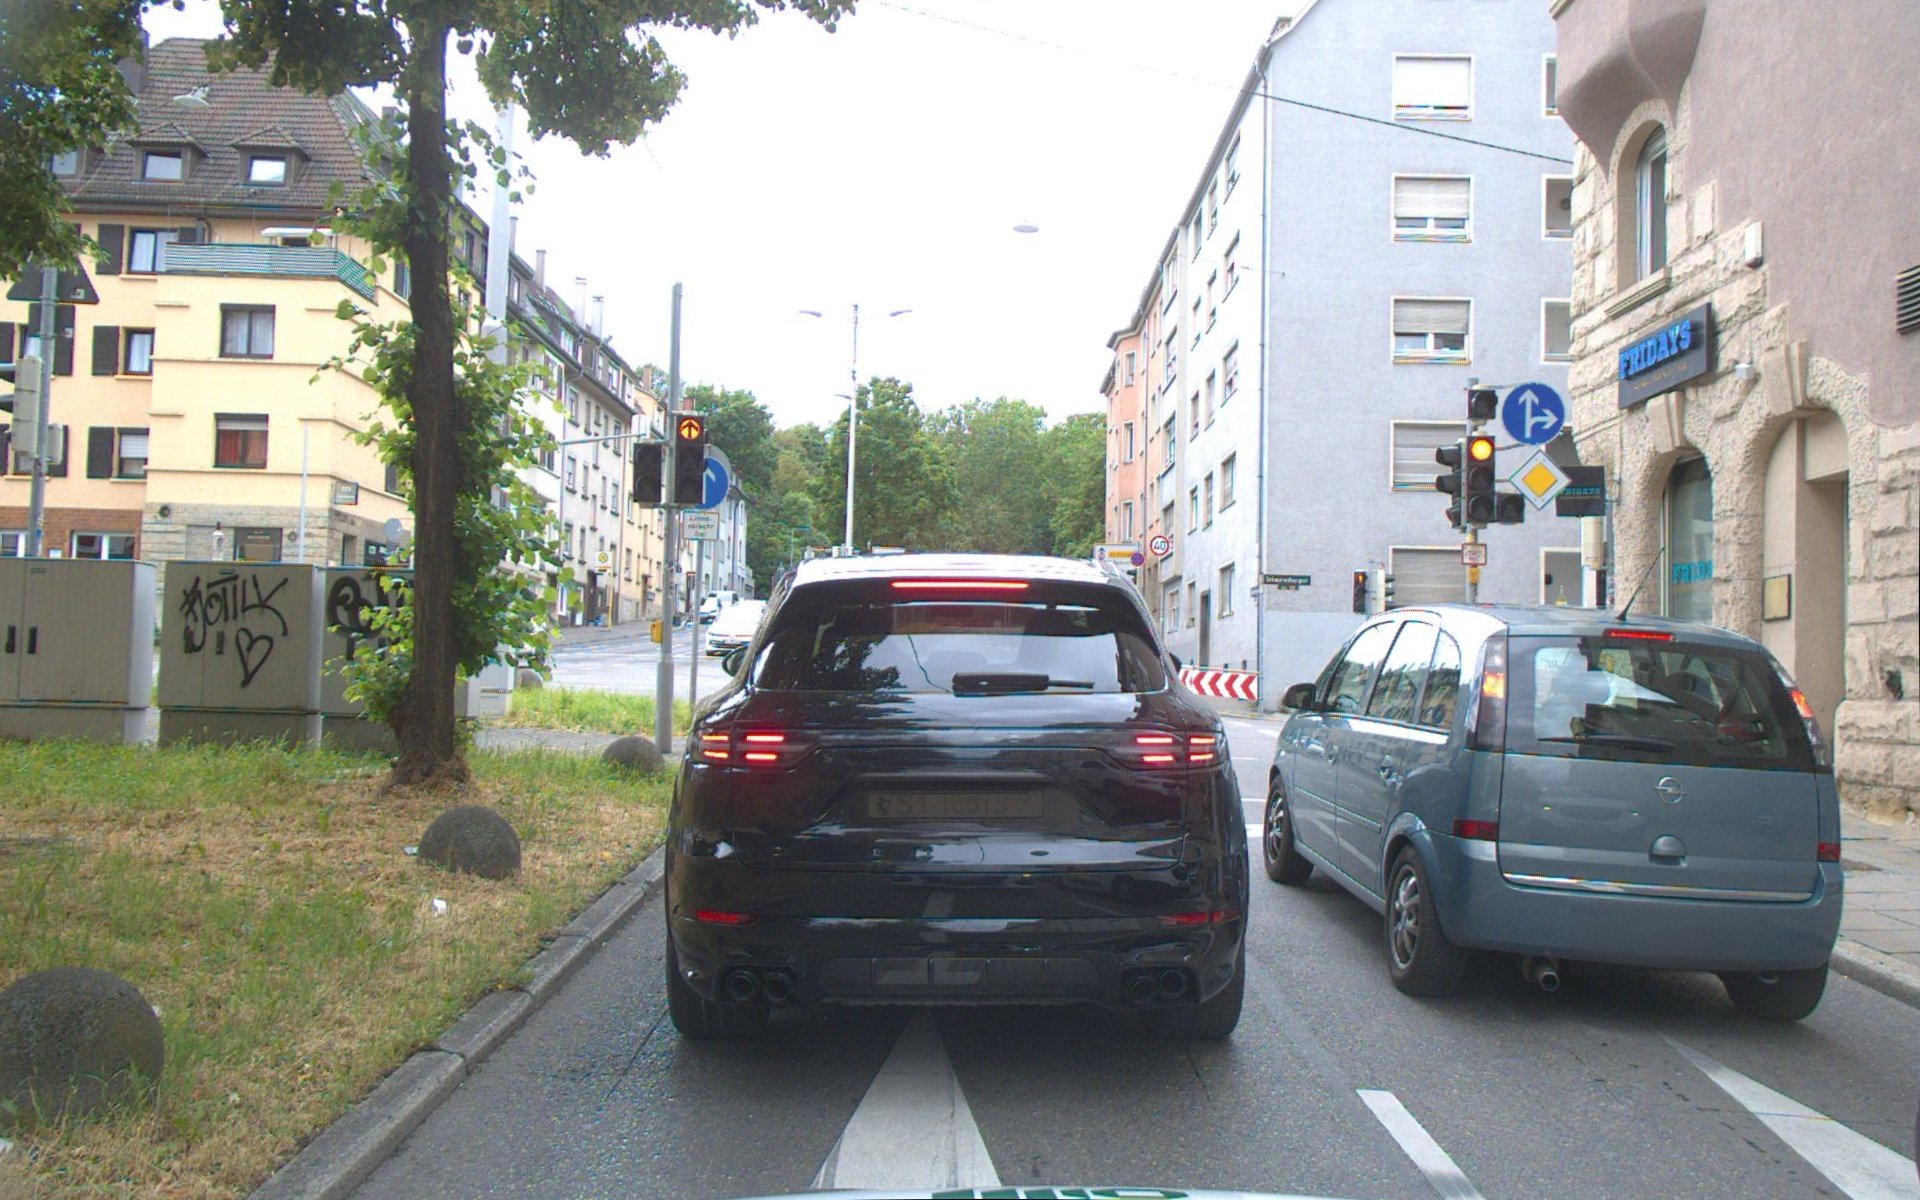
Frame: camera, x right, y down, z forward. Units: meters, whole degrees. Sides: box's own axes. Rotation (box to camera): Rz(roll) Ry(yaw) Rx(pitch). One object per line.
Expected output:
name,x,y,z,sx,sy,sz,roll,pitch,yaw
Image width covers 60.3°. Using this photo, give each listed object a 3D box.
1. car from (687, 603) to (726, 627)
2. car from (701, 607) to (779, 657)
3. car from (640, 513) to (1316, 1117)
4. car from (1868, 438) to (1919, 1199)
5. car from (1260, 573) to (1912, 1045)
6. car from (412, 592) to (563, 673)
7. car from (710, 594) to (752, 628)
car,-15.078,0.884,98.561,1.703,1.411,3.813,1,0,0
car,-6.670,0.943,50.463,1.824,1.412,4.094,1,0,0
car,0.029,0.618,6.699,1.916,1.704,3.999,0,0,-1
car,2.915,0.644,1.024,1.936,1.806,4.674,4,0,-2
car,2.635,0.776,7.903,1.596,1.625,3.668,4,0,-1
car,-10.347,0.685,36.566,1.933,1.638,4.558,1,0,1
car,-14.431,0.693,104.392,1.975,2.081,4.666,1,0,0
